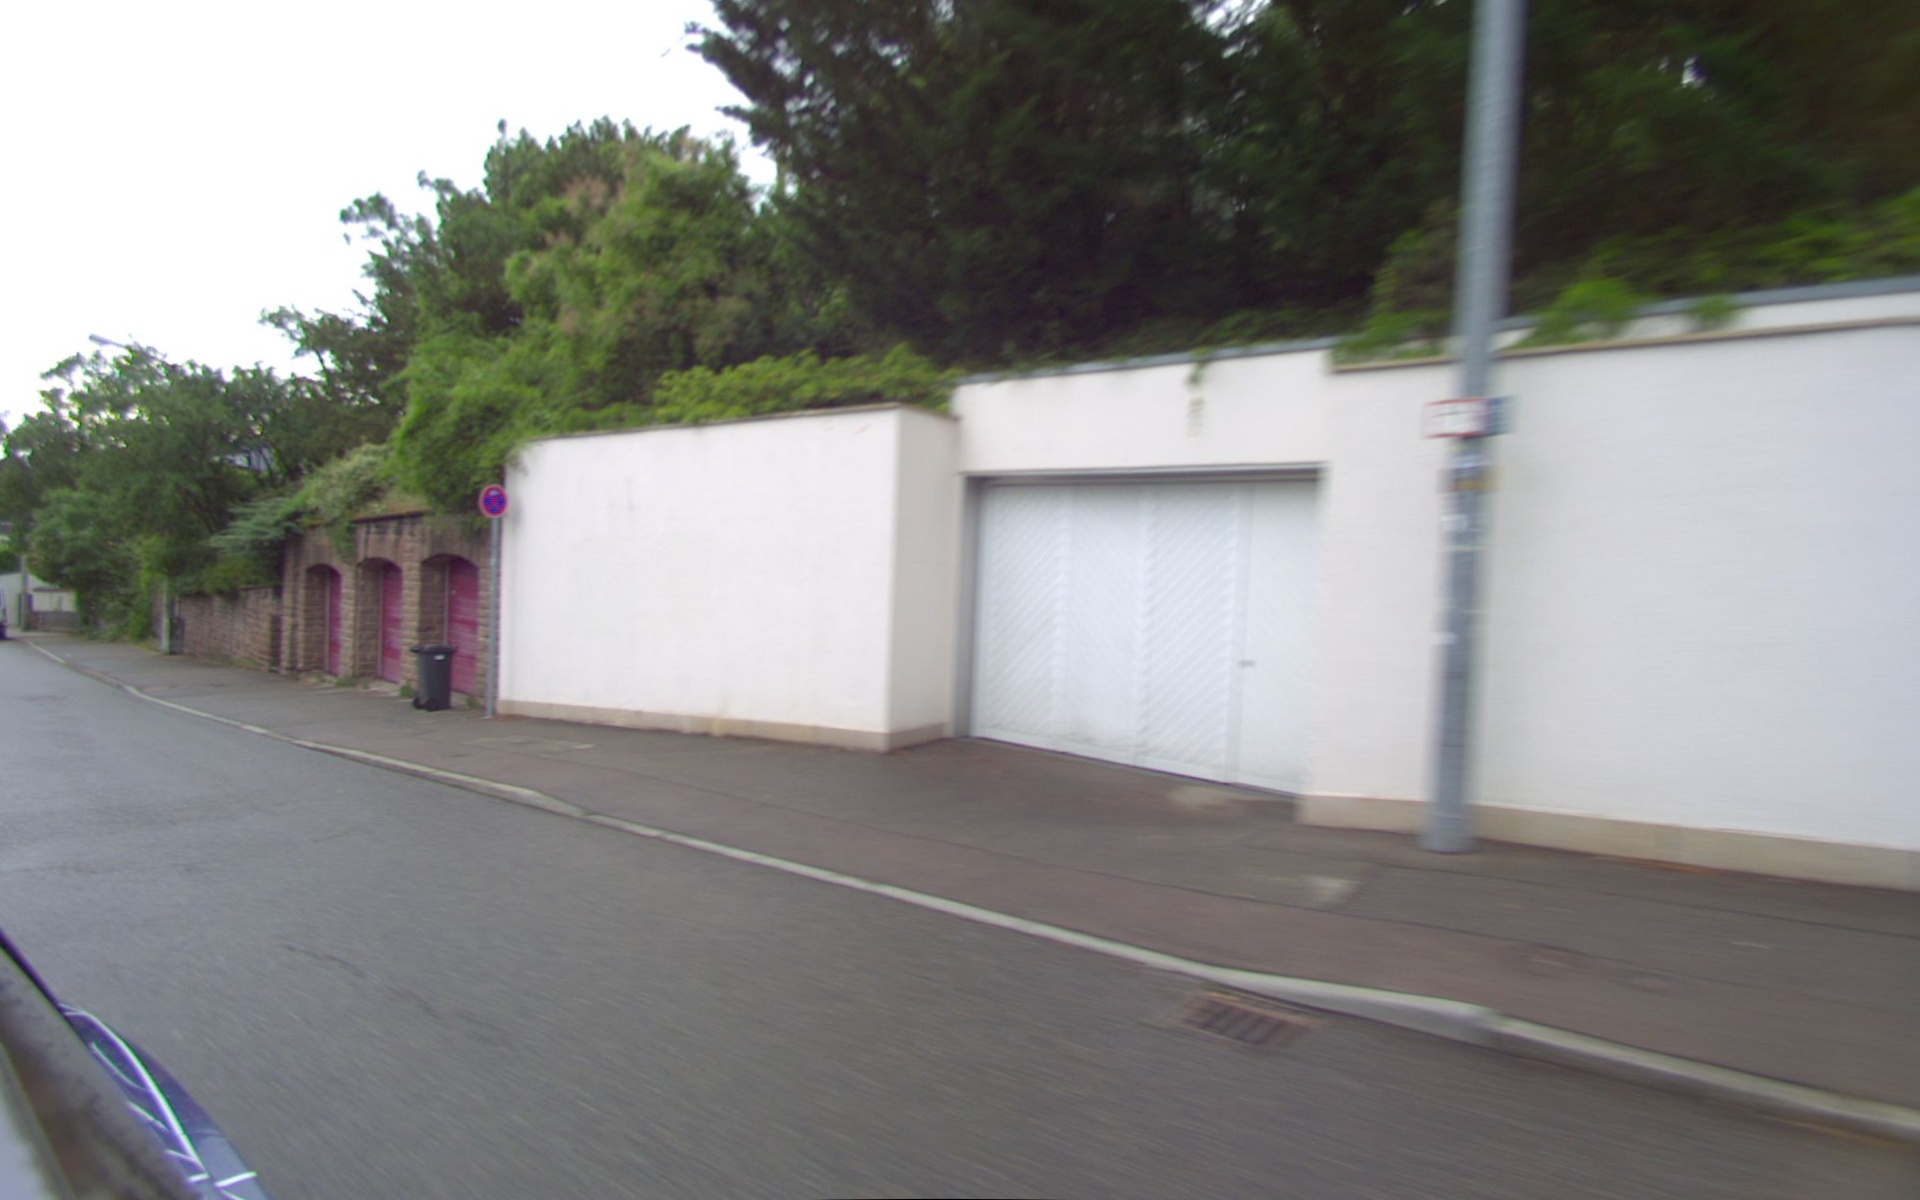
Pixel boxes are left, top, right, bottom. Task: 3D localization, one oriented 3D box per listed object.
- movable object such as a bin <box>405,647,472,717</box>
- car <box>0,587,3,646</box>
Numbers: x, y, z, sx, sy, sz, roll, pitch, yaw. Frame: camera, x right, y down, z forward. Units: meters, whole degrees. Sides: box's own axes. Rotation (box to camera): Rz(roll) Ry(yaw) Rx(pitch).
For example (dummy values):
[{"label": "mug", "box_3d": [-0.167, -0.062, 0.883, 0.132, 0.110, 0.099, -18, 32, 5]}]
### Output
[{"label": "movable object such as a bin", "box_3d": [-7.551, 1.172, 14.644, 0.677, 0.926, 0.651, 0, 2, 43]}, {"label": "car", "box_3d": [-45.191, 0.790, 45.825, 6.094, 2.569, 2.073, -1, 1, 41]}]
